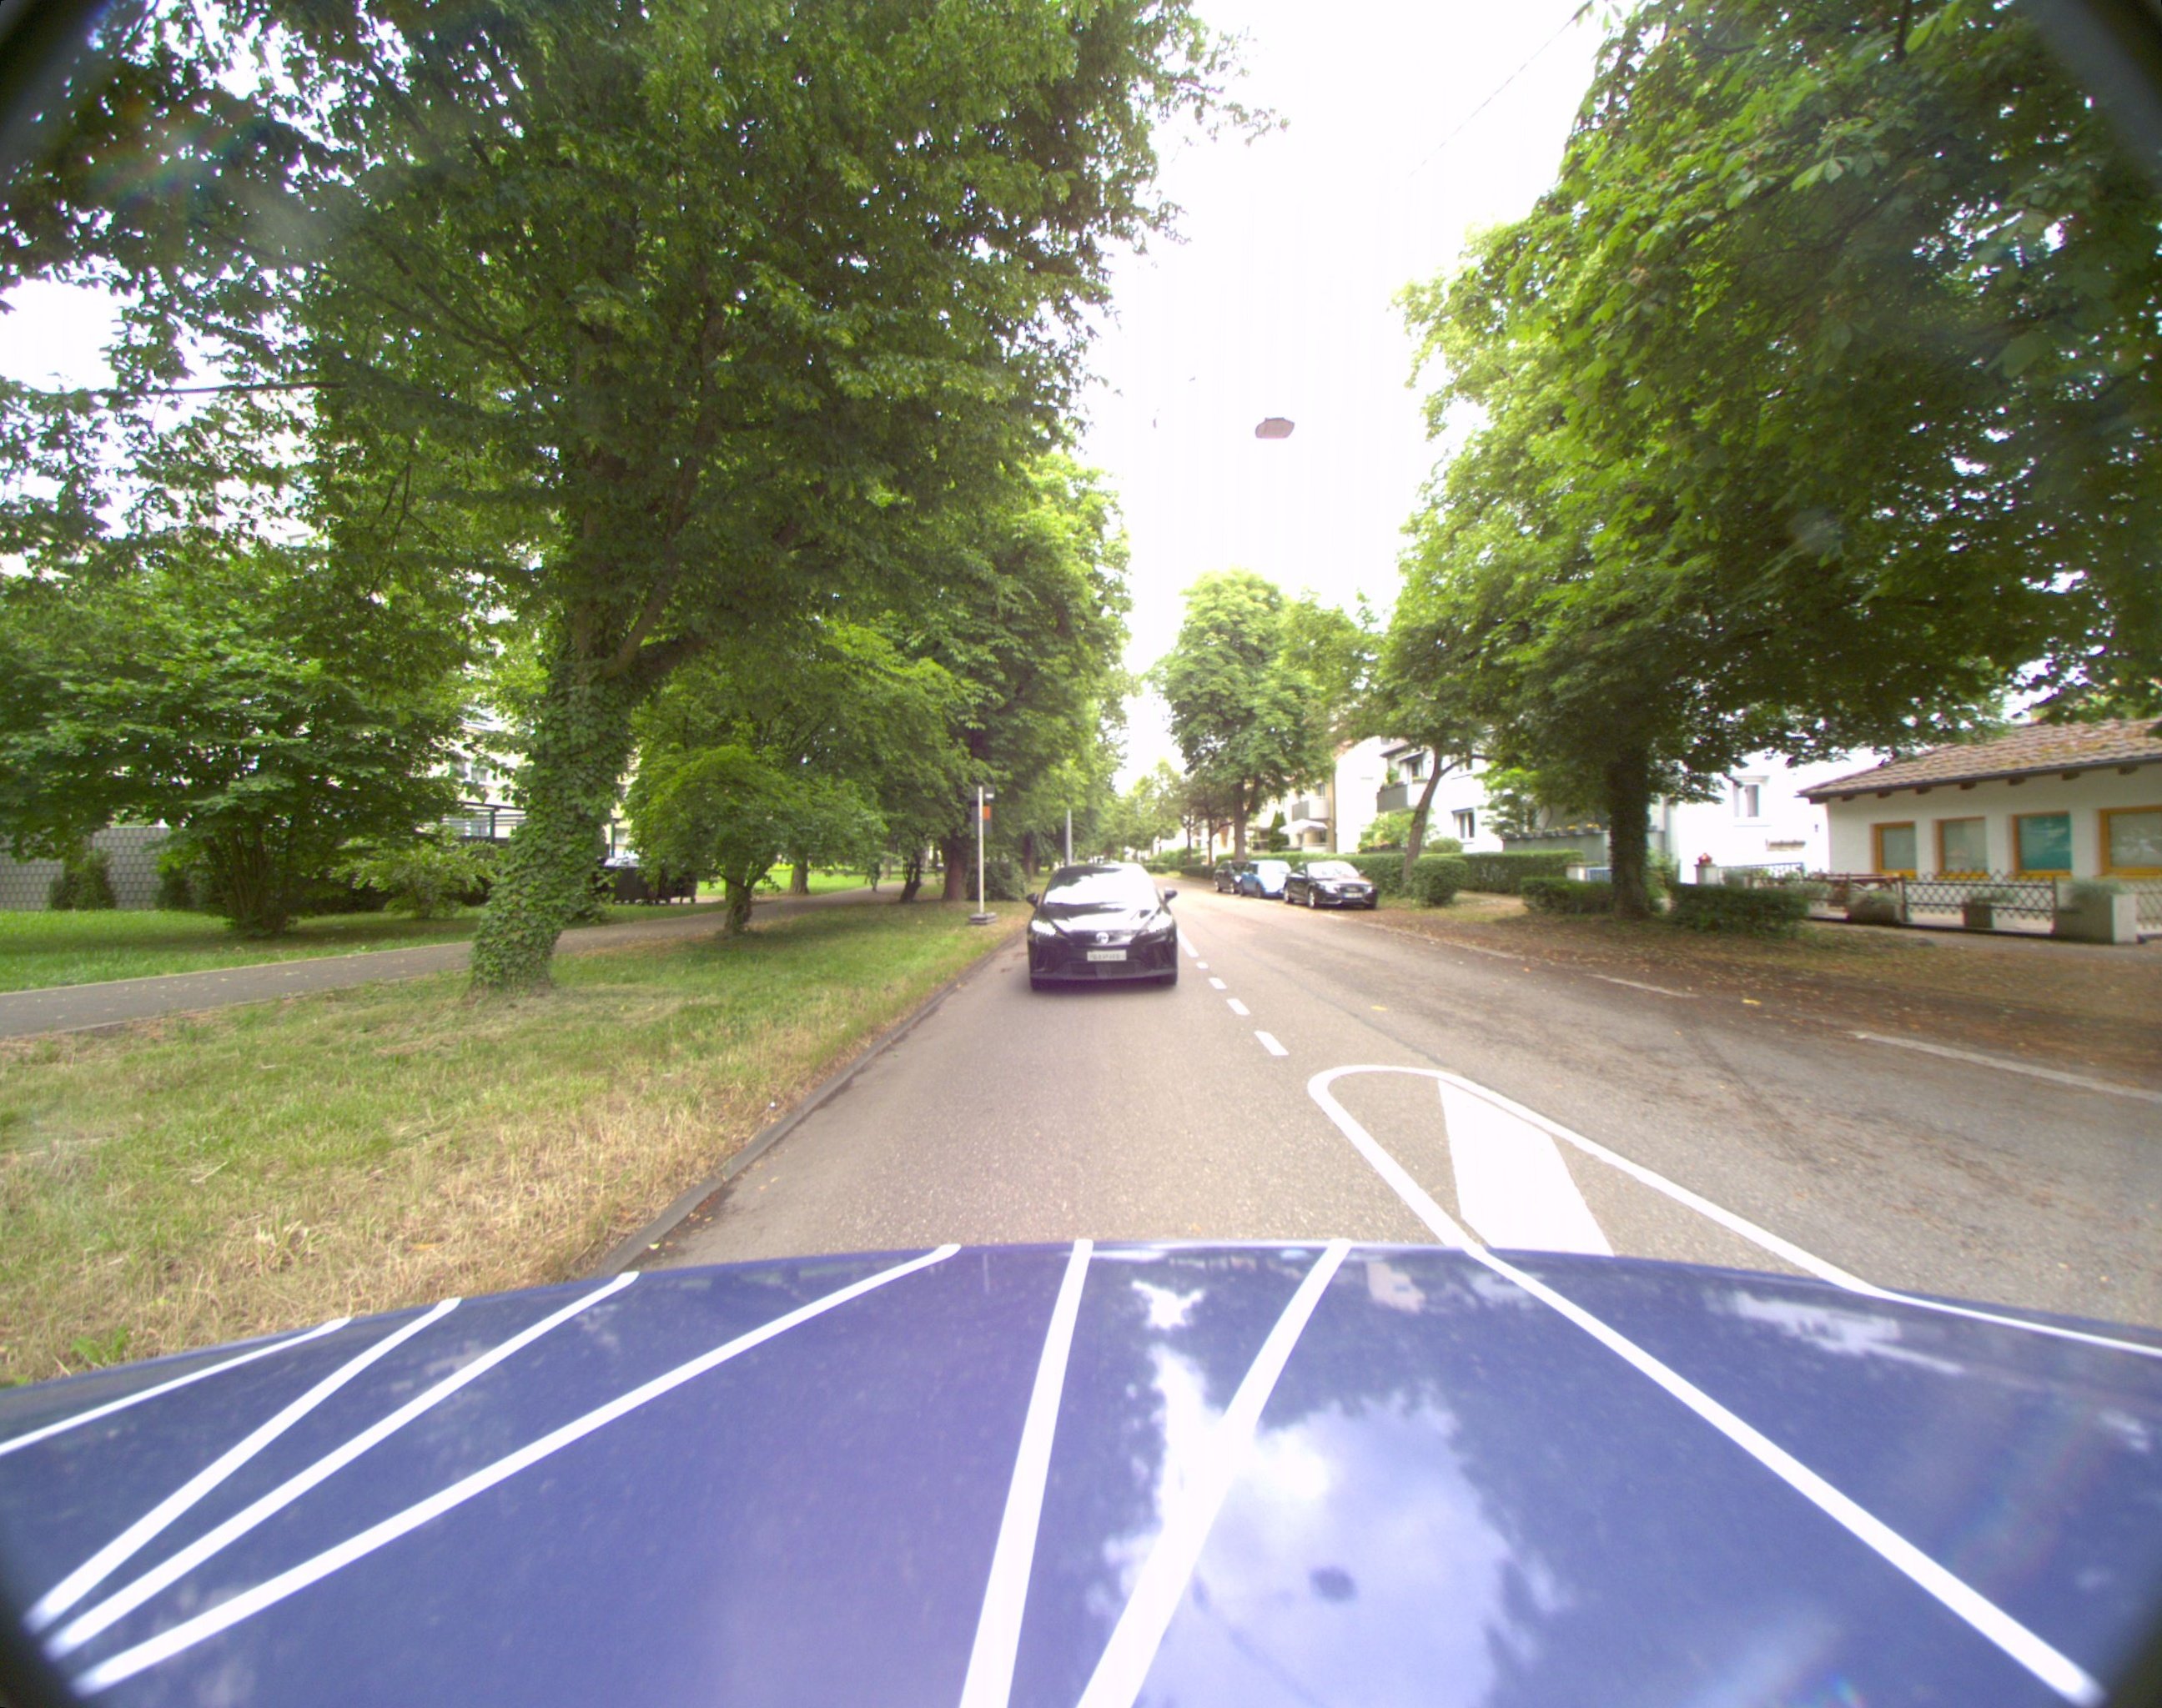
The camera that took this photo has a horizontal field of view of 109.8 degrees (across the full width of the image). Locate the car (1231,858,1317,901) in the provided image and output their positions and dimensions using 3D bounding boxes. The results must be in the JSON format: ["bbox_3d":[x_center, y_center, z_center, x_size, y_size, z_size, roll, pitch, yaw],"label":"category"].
[{"bbox_3d":[7.201,0.896,28.851,1.889,1.492,4.565,0,0,-3],"label":"car"}]

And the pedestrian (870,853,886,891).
[{"bbox_3d":[-9.416,0.846,35.203,0.565,1.730,0.570,1,0,0],"label":"pedestrian"}]

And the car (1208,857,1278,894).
[{"bbox_3d":[7.070,0.901,33.605,1.889,1.524,4.565,0,0,-3],"label":"car"}]

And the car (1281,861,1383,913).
[{"bbox_3d":[7.401,0.929,22.830,1.735,1.394,4.172,0,0,1],"label":"car"}]

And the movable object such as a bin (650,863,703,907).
[{"bbox_3d":[-13.248,1.001,24.920,1.194,1.405,1.110,0,0,-8],"label":"movable object such as a bin"}]

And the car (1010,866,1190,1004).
[{"bbox_3d":[0.233,0.932,10.730,1.998,1.491,4.615,0,0,1],"label":"car"}]

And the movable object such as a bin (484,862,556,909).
[{"bbox_3d":[-16.518,0.909,22.432,1.194,1.334,1.348,0,0,-8],"label":"movable object such as a bin"}]

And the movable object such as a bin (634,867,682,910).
[{"bbox_3d":[-13.245,1.061,23.826,1.026,1.296,0.960,0,0,-8],"label":"movable object such as a bin"}]

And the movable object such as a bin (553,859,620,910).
[{"bbox_3d":[-14.577,0.885,22.435,1.194,1.448,1.348,0,0,-8],"label":"movable object such as a bin"}]

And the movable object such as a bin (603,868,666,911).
[{"bbox_3d":[-13.260,1.041,22.627,1.194,1.213,1.348,0,0,-8],"label":"movable object such as a bin"}]
